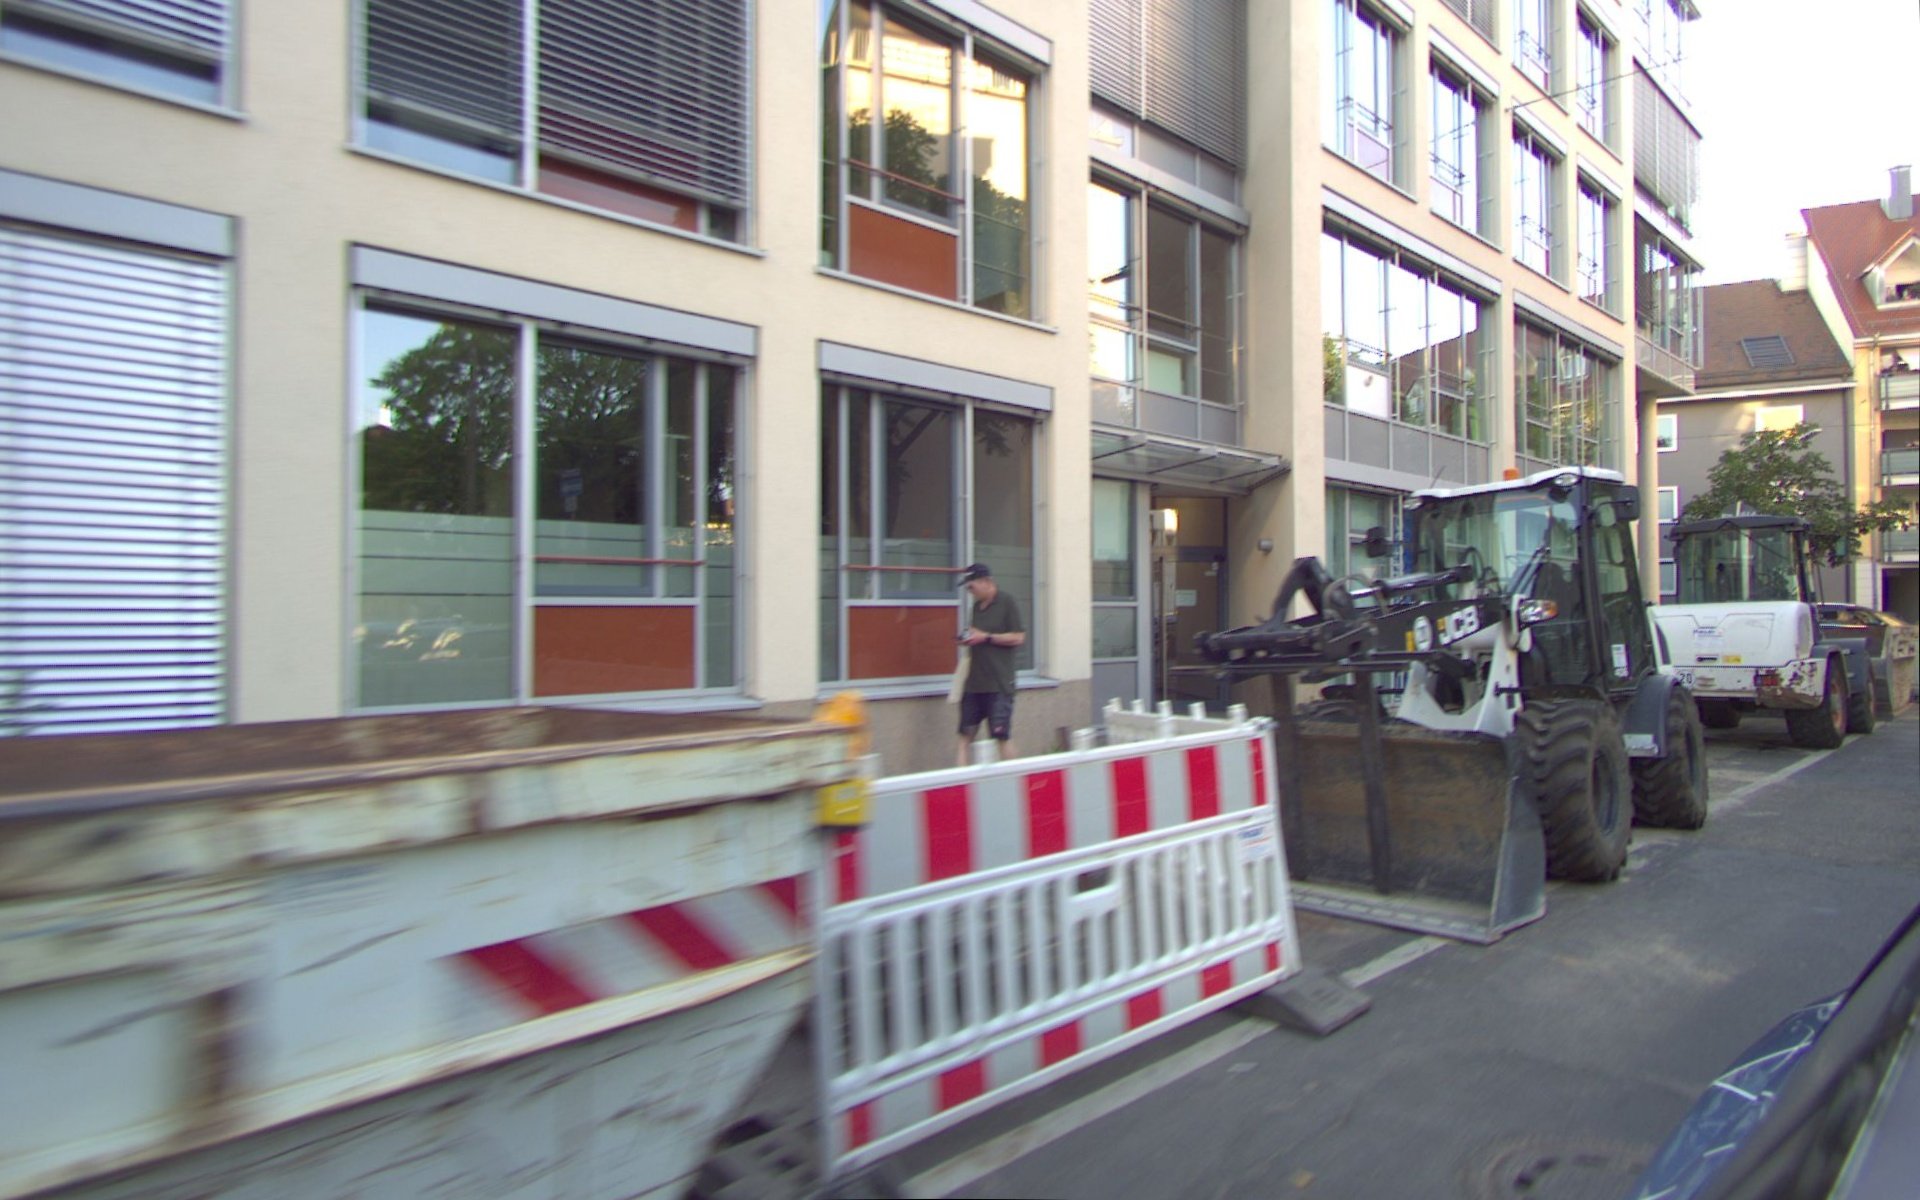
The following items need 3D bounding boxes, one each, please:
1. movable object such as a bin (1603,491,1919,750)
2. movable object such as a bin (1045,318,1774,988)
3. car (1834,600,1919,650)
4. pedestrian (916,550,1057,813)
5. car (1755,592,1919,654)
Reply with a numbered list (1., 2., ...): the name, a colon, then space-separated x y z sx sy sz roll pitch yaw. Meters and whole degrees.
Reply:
1. movable object such as a bin: 10.464 0.240 13.009 5.649 2.657 2.019 0 -3 -40
2. movable object such as a bin: 3.298 0.258 6.628 5.648 2.658 2.019 1 -3 -40
3. car: 31.673 0.817 34.729 1.617 1.468 3.822 0 2 27
4. pedestrian: 0.197 0.565 7.610 0.709 1.842 0.806 0 0 -41
5. car: 26.315 0.629 29.753 4.356 1.717 1.979 0 0 30
